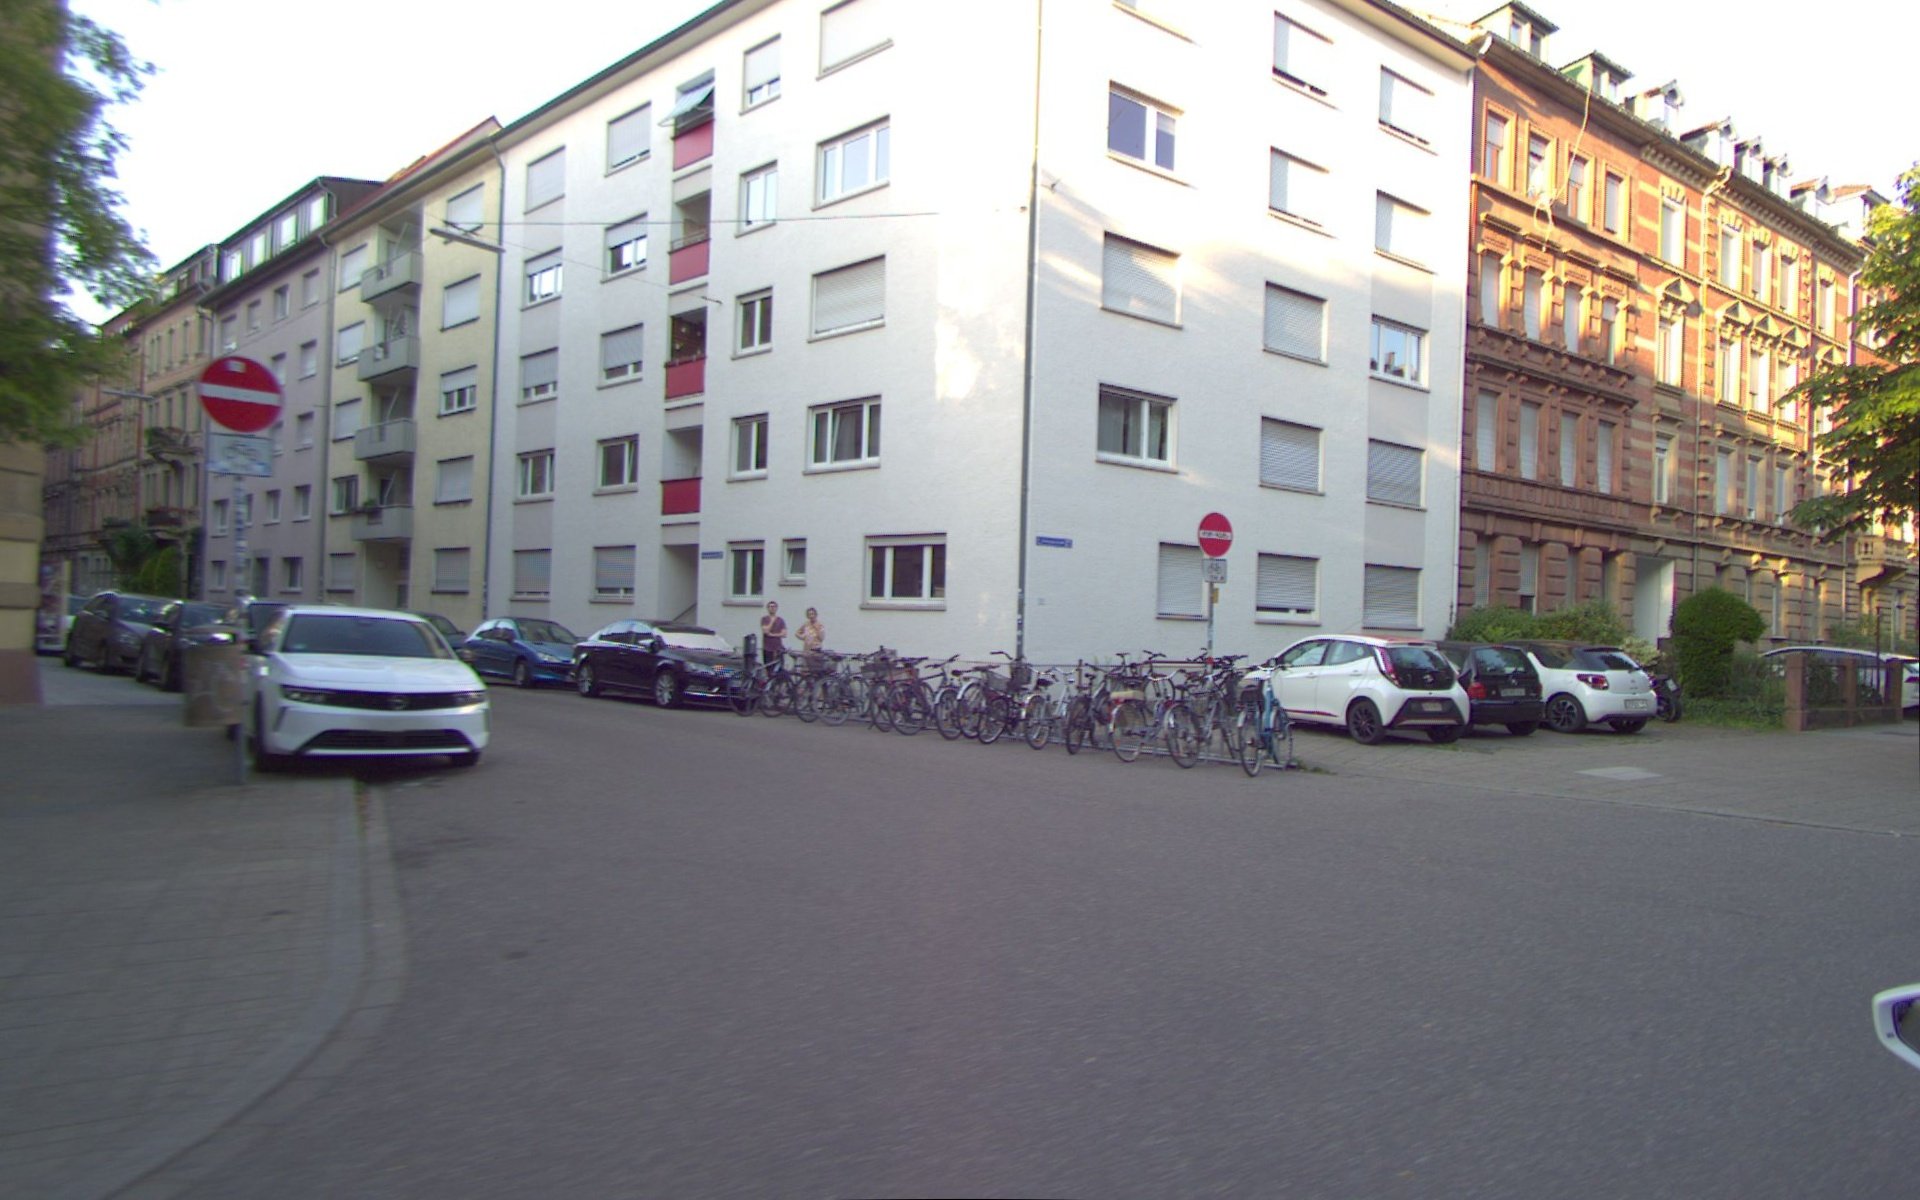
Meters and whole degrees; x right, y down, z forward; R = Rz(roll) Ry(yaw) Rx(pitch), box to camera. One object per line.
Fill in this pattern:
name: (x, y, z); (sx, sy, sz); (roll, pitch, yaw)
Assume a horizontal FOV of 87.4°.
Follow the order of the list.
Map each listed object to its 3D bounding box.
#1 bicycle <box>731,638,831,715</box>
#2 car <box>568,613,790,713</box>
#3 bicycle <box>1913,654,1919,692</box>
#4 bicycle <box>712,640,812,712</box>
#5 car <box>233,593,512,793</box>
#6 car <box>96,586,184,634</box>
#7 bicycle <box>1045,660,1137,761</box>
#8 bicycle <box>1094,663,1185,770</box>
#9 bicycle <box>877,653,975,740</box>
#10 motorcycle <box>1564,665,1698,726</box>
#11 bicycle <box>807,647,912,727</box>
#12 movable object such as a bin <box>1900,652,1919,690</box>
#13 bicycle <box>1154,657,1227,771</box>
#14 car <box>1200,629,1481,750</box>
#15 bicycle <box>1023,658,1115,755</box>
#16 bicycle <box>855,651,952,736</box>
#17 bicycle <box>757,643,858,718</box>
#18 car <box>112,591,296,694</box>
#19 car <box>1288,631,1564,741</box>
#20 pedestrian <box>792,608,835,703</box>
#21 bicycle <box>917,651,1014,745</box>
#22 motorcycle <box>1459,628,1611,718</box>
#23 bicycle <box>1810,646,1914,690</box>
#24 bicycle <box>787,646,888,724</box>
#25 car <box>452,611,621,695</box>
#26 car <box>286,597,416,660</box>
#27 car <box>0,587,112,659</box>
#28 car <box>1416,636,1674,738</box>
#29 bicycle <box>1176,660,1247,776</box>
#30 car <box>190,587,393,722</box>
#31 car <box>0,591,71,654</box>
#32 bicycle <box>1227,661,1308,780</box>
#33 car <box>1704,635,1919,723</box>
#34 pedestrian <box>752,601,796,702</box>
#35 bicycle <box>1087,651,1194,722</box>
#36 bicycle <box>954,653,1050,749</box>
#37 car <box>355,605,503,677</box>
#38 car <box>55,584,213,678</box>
bicycle: (-2.884, 1.219, 16.379); (0.361, 1.181, 1.845); (1, -1, 36)
car: (-4.937, 1.073, 17.538); (3.653, 1.492, 1.794); (1, -4, 37)
bicycle: (31.376, 2.399, 31.171); (0.635, 1.208, 2.521); (2, 2, -24)
bicycle: (-3.242, 1.230, 16.634); (0.361, 1.119, 1.845); (1, -1, 36)
car: (-6.084, 0.756, 10.137); (1.695, 1.572, 4.414); (1, -1, -40)
car: (-33.181, 0.390, 40.615); (3.939, 1.795, 1.991); (1, -1, 39)
bicycle: (1.662, 1.332, 12.496); (0.361, 1.124, 1.847); (1, -1, 32)
bicycle: (2.170, 1.341, 11.963); (0.361, 1.124, 1.847); (1, -1, 32)
bicycle: (-0.447, 1.324, 14.207); (0.361, 1.131, 1.847); (1, -1, 32)
motorcycle: (12.961, 1.823, 19.497); (0.579, 0.971, 2.232); (2, -1, -21)
bicycle: (-1.488, 1.286, 15.194); (0.395, 1.131, 1.844); (1, -1, 38)
movable object such as a bin: (32.693, 2.414, 34.094); (0.998, 1.225, 1.085); (1, 2, -45)
bicycle: (2.691, 1.276, 11.625); (0.239, 1.197, 1.675); (1, -1, 32)
car: (5.561, 1.239, 15.267); (1.684, 1.466, 4.085); (1, 0, -22)
bicycle: (1.429, 1.326, 12.913); (0.361, 1.124, 1.847); (1, -1, 32)
bicycle: (-0.787, 1.323, 14.590); (0.361, 1.131, 1.847); (1, -1, 32)
bicycle: (-2.401, 1.256, 16.014); (0.361, 1.119, 1.845); (1, -1, 36)
car: (-13.000, 0.694, 17.207); (3.818, 1.572, 1.701); (1, -4, 41)
car: (7.539, 1.325, 16.715); (1.790, 1.466, 4.087); (1, 0, -20)
pedestrian: (-2.729, 1.013, 18.685); (0.528, 1.706, 0.579); (2, 3, 39)
bicycle: (0.107, 1.299, 13.739); (0.361, 1.167, 1.847); (1, -1, 32)
motorcycle: (11.595, 1.428, 20.414); (0.665, 1.660, 2.846); (2, -1, -22)
bicycle: (30.607, 2.294, 34.132); (0.638, 1.208, 2.506); (1, 2, -41)
bicycle: (-1.859, 1.280, 15.486); (0.361, 1.119, 1.845); (1, -1, 36)
car: (-8.914, 1.079, 21.018); (3.663, 1.471, 1.684); (1, -5, 40)
car: (-16.841, 0.750, 27.719); (4.046, 1.571, 1.837); (1, -1, 40)
car: (-22.092, 0.533, 24.318); (3.817, 1.572, 1.702); (1, -4, 40)
car: (10.045, 1.429, 17.538); (1.791, 1.466, 3.556); (1, 0, -22)
bicycle: (2.900, 1.302, 11.470); (0.239, 1.197, 1.675); (1, -1, 32)
car: (-9.290, 0.701, 13.823); (1.697, 1.572, 4.056); (5, -4, -42)
car: (-25.758, 0.587, 27.367); (3.817, 1.572, 1.701); (1, -4, 41)
bicycle: (3.435, 1.284, 11.123); (0.332, 1.196, 1.874); (1, -2, 32)
car: (20.315, 1.784, 23.670); (1.690, 1.548, 4.070); (3, 2, -32)
pedestrian: (-3.419, 0.932, 18.449); (0.494, 1.789, 0.621); (2, 3, 37)
bicycle: (2.924, 1.379, 16.169); (1.856, 1.076, 0.394); (3, -1, -31)
bicycle: (0.595, 1.302, 13.395); (0.361, 1.167, 1.847); (1, -1, 32)
car: (-13.071, 0.978, 24.643); (3.940, 1.576, 1.833); (1, -2, 40)
car: (-16.418, 0.586, 19.912); (3.817, 1.668, 1.701); (1, -4, 41)
